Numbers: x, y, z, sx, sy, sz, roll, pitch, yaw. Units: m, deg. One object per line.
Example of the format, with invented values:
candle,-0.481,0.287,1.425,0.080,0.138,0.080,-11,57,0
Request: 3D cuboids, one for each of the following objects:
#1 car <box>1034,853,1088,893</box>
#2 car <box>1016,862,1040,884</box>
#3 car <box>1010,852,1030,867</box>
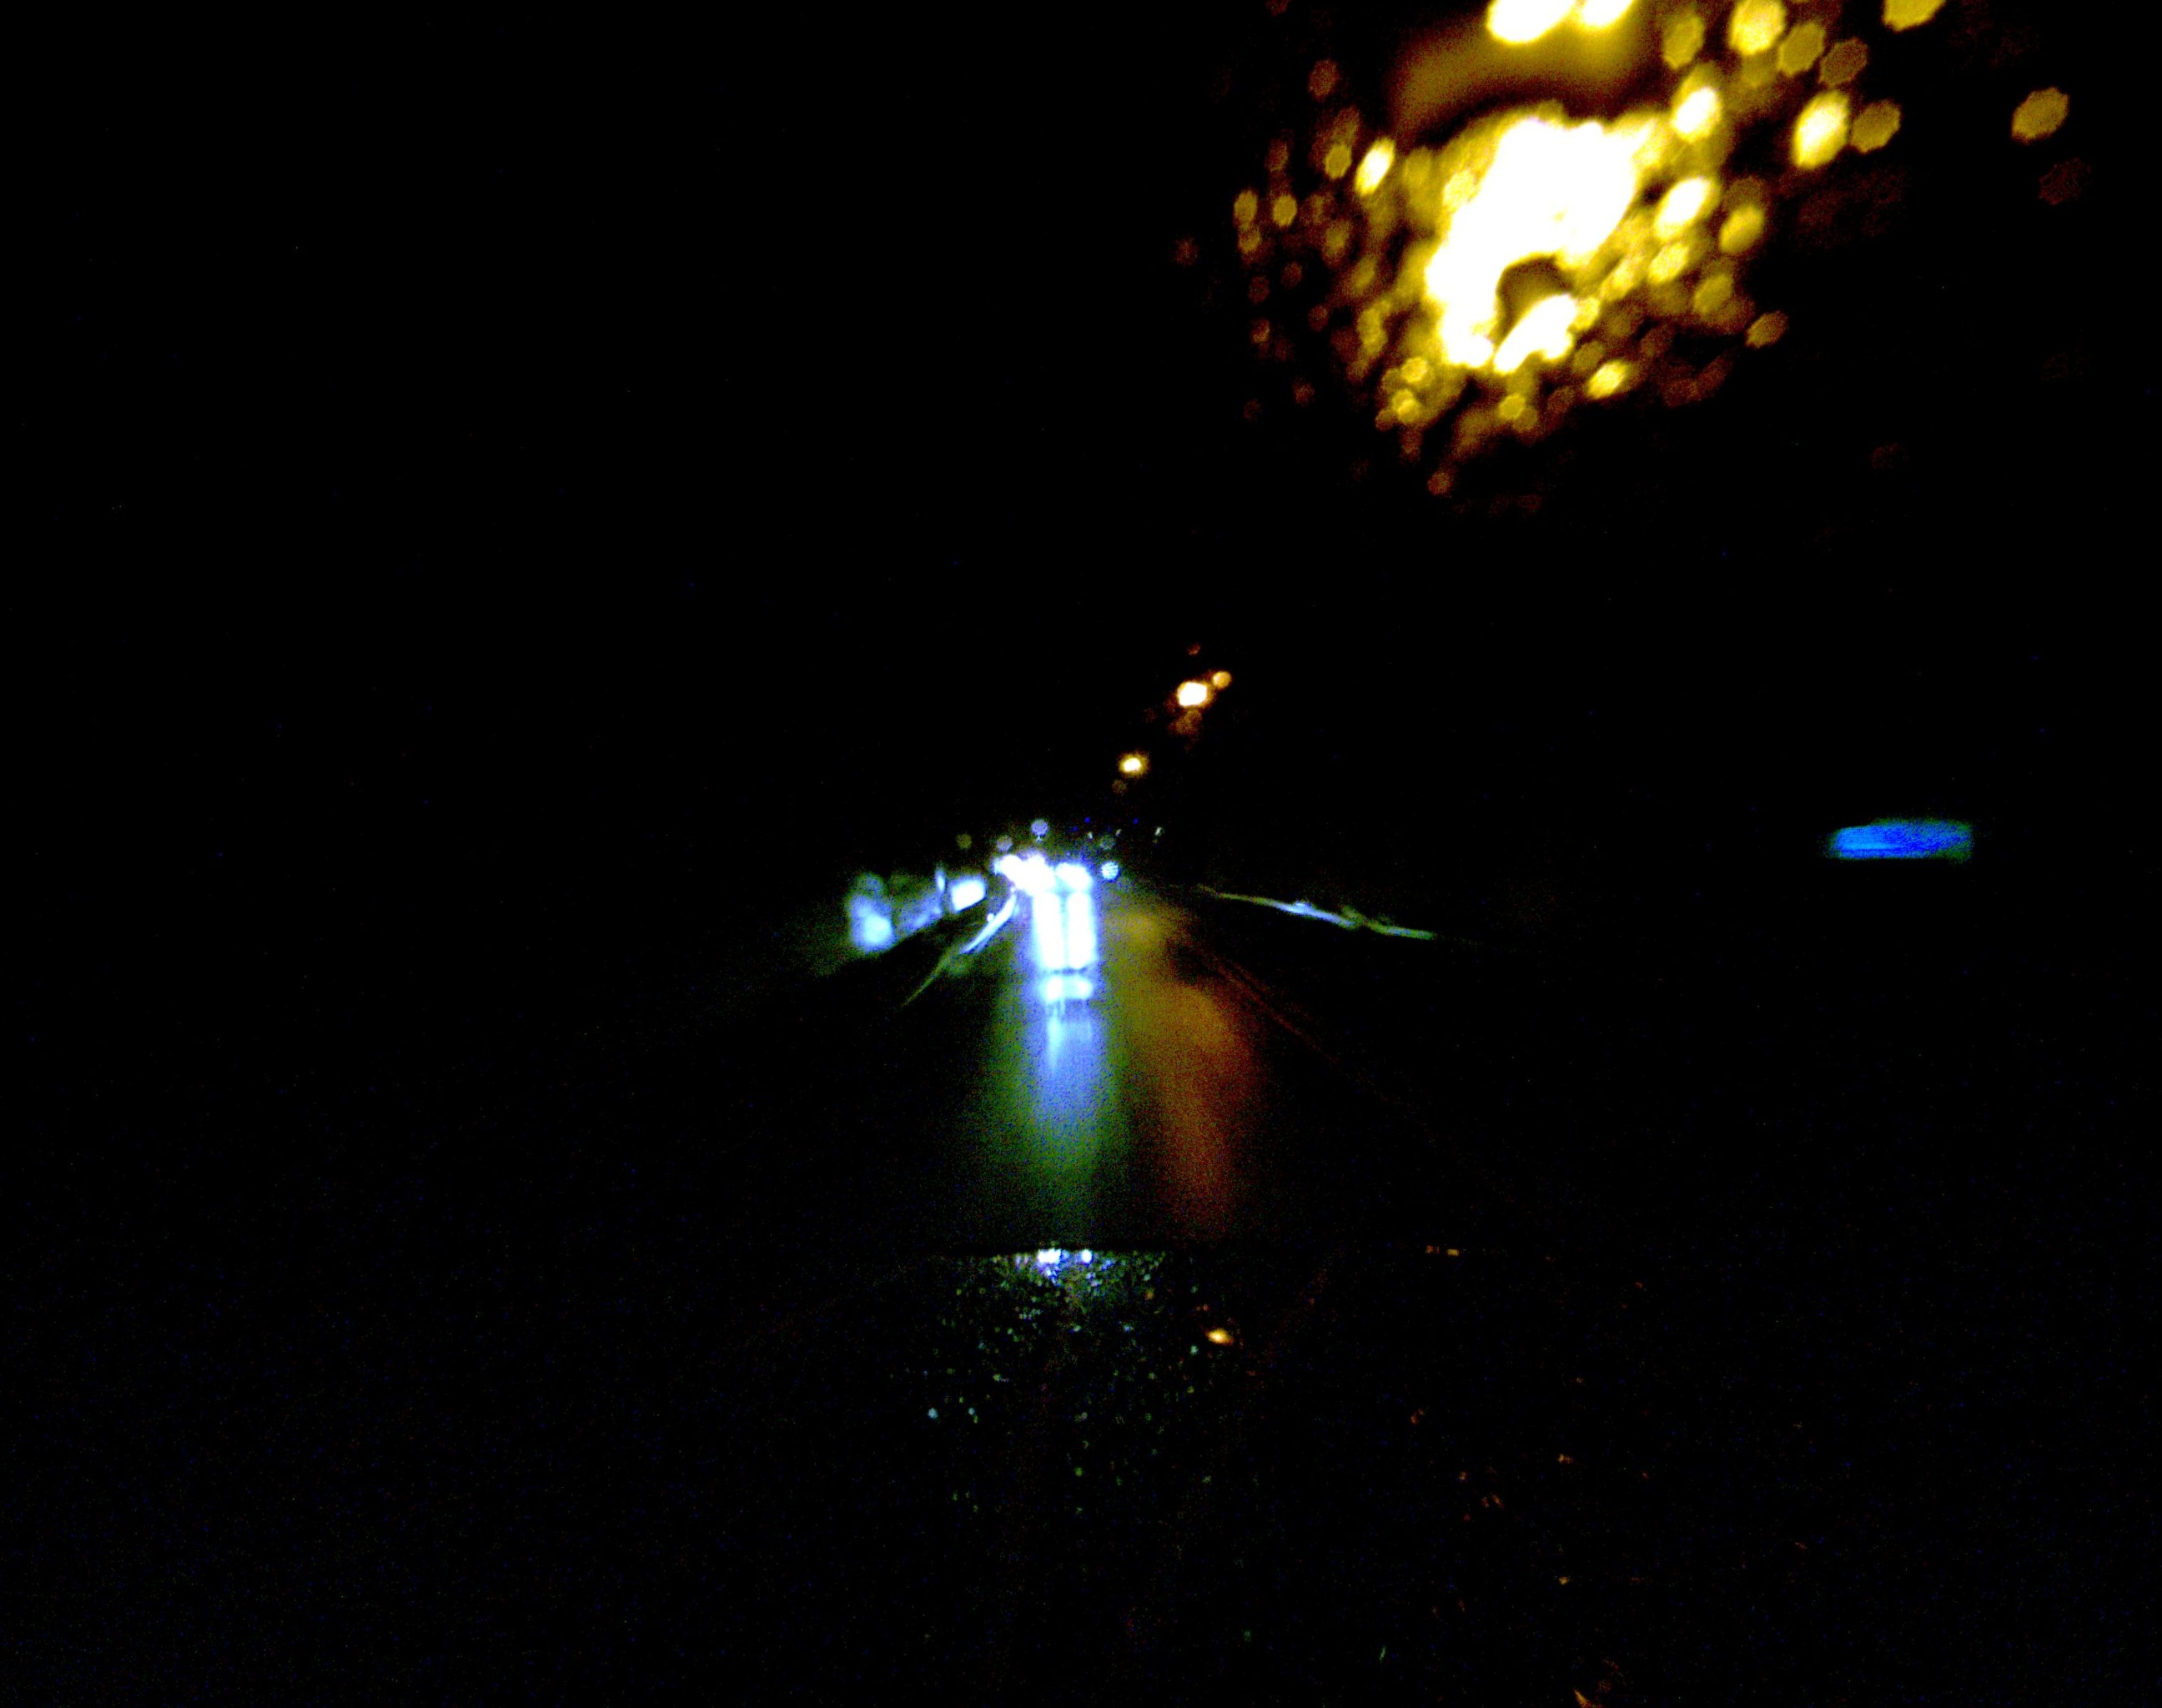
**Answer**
car,-1.033,0.858,36.024,2.000,1.585,4.603,0,2,-9
car,-5.382,1.903,76.446,1.900,2.002,3.996,-3,1,-10
car,-7.522,0.641,94.054,1.710,1.762,3.994,-3,1,-15
